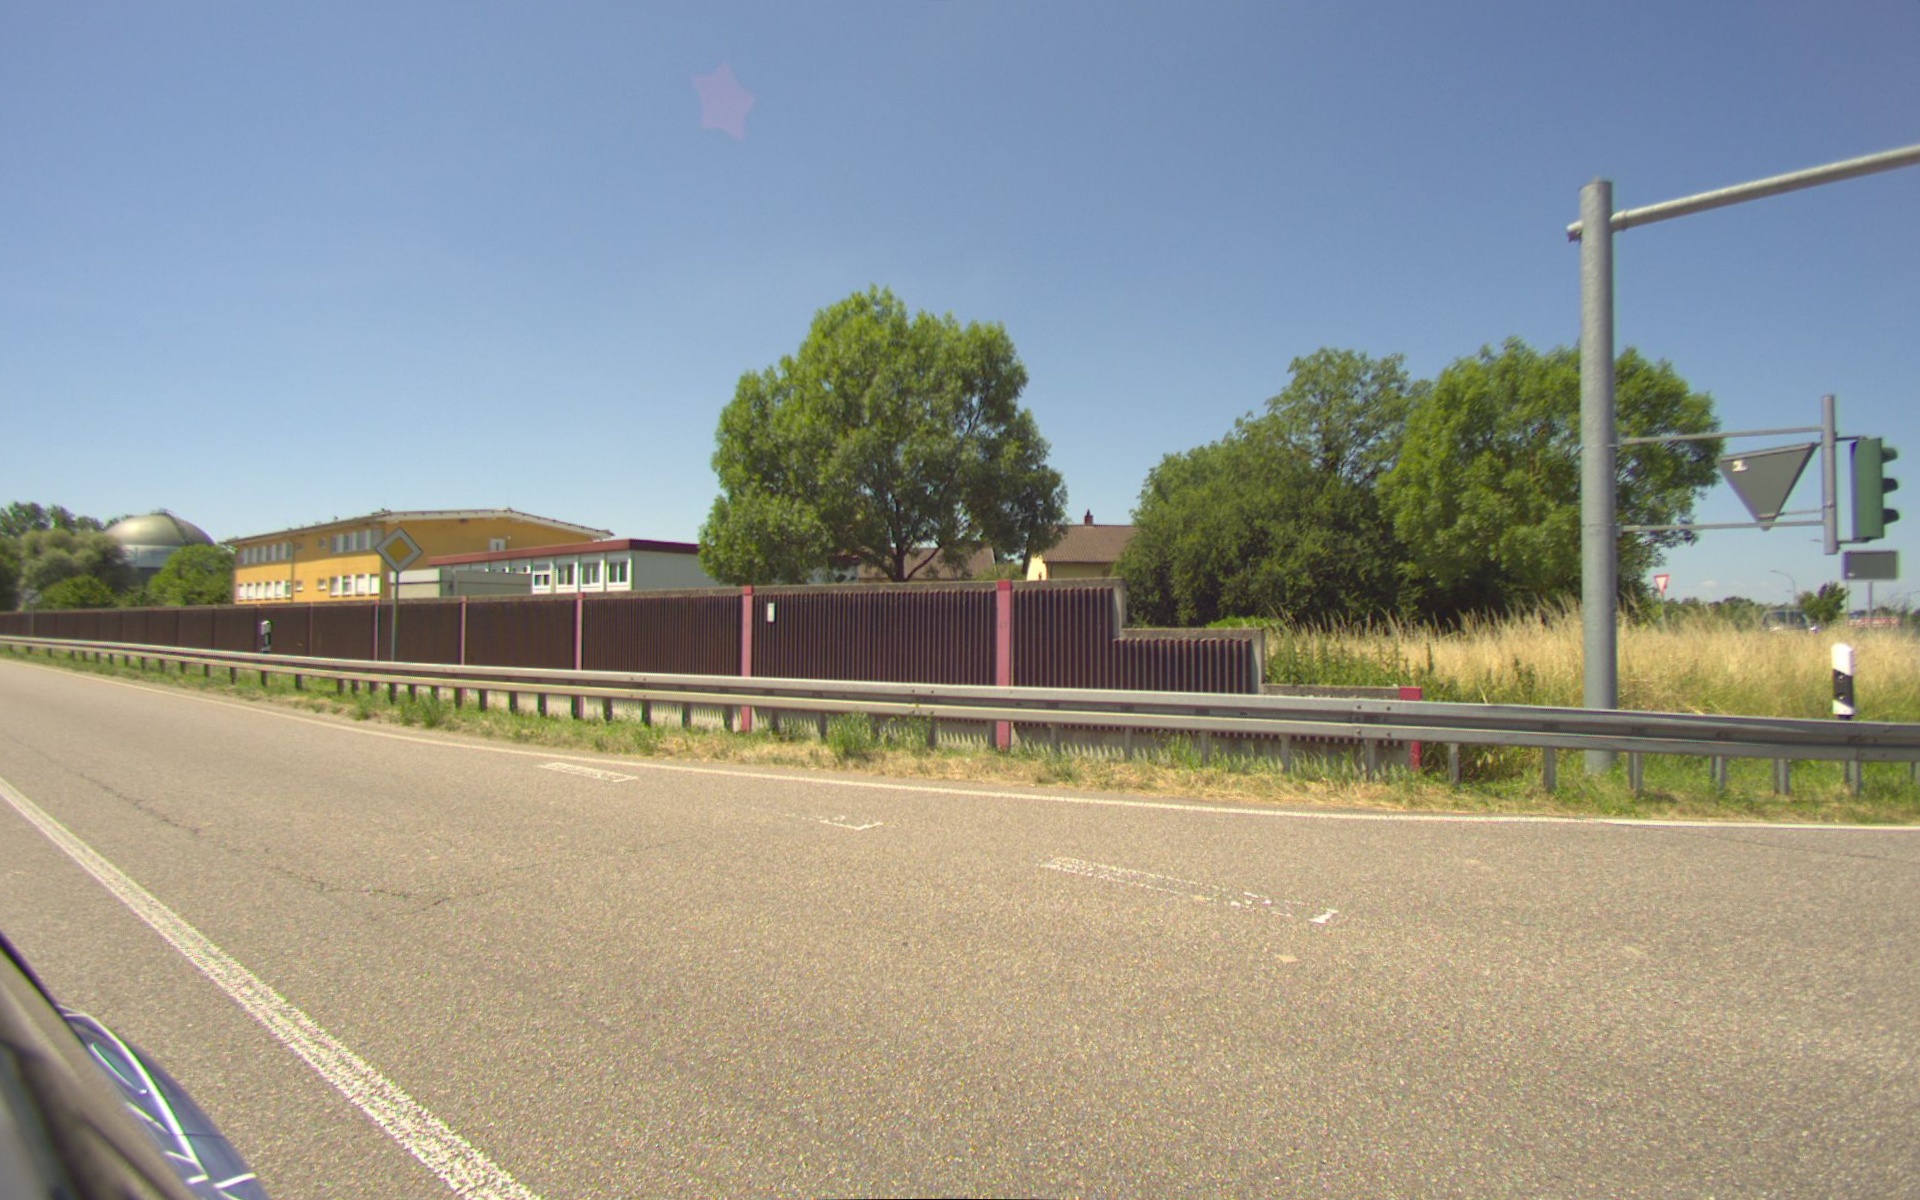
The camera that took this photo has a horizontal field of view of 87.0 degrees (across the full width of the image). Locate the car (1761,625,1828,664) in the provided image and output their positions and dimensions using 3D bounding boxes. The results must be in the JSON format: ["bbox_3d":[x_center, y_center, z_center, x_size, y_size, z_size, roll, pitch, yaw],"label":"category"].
[{"bbox_3d":[37.424,1.966,45.484,1.765,1.637,4.187,-2,-2,32],"label":"car"}]
